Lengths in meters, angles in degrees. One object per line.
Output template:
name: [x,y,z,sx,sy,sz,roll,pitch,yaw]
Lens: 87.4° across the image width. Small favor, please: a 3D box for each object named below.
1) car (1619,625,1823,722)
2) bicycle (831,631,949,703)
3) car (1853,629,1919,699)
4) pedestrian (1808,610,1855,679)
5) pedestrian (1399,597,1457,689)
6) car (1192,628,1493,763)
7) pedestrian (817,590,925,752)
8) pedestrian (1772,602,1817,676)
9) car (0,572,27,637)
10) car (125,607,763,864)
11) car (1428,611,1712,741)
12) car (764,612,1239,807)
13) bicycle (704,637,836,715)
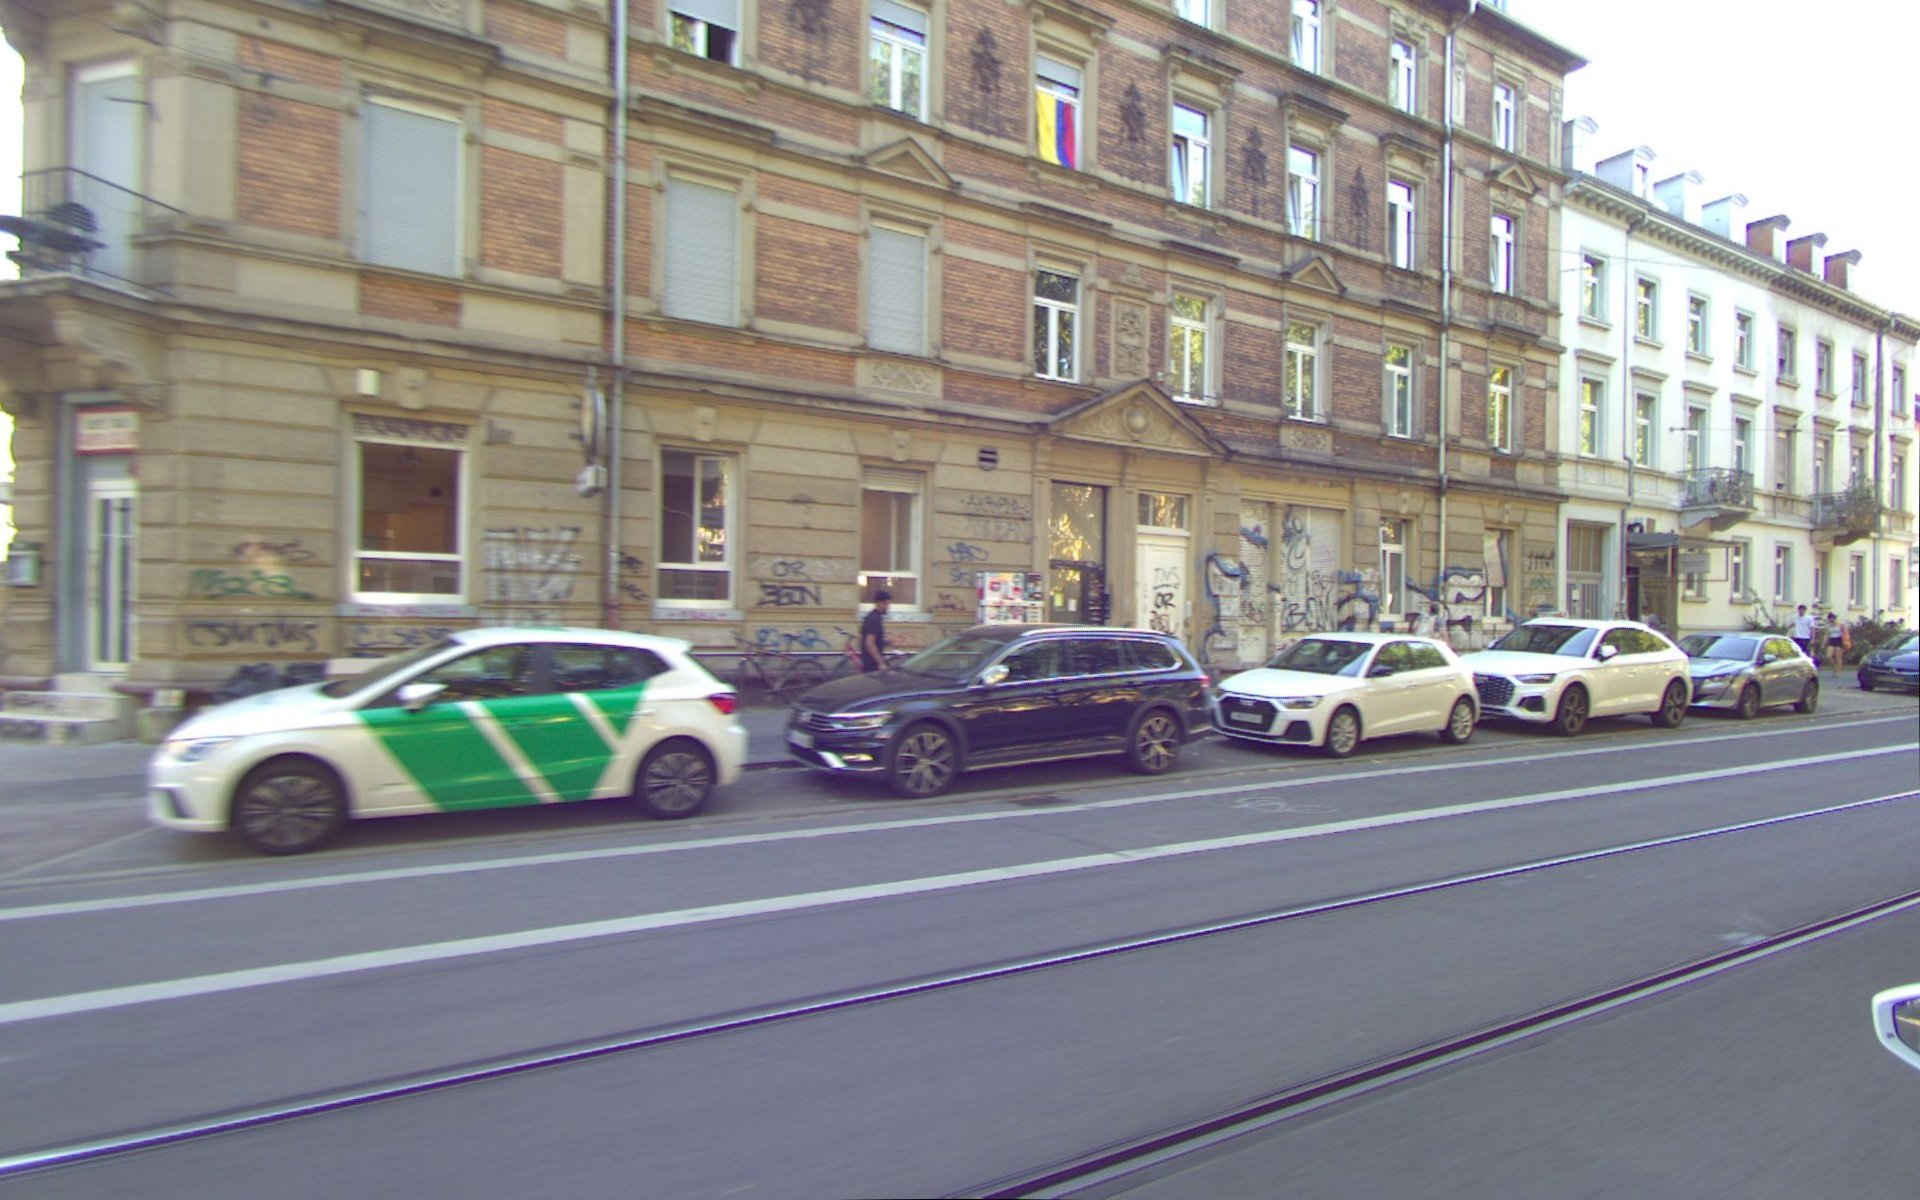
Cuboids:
car: [13.943,1.280,18.356,4.020,1.541,1.653,2,0,-32]
bicycle: [-1.039,0.996,15.232,1.829,1.048,0.370,1,-1,-33]
car: [22.759,1.467,23.499,3.874,1.535,1.548,1,-1,-28]
pedestrian: [23.802,1.200,27.432,0.821,1.845,0.755,1,-1,-33]
pedestrian: [8.851,0.805,19.018,0.753,1.687,0.665,2,0,2]
car: [5.033,1.131,13.056,3.959,1.439,1.688,2,0,-34]
pedestrian: [-1.054,0.813,11.947,1.048,1.825,0.678,1,1,-39]
pedestrian: [23.508,1.091,28.289,0.821,2.040,0.755,1,-1,-32]
car: [-33.423,0.157,33.638,2.104,2.188,4.286,1,-1,-28]
car: [-3.759,0.877,7.860,3.999,1.512,1.731,2,0,-31]
car: [9.640,1.115,15.774,4.663,1.746,1.778,2,0,-30]
car: [0.540,0.983,10.382,4.732,1.583,1.731,2,0,-31]
bicycle: [-2.682,1.064,14.299,1.829,1.048,0.370,1,-1,-33]
